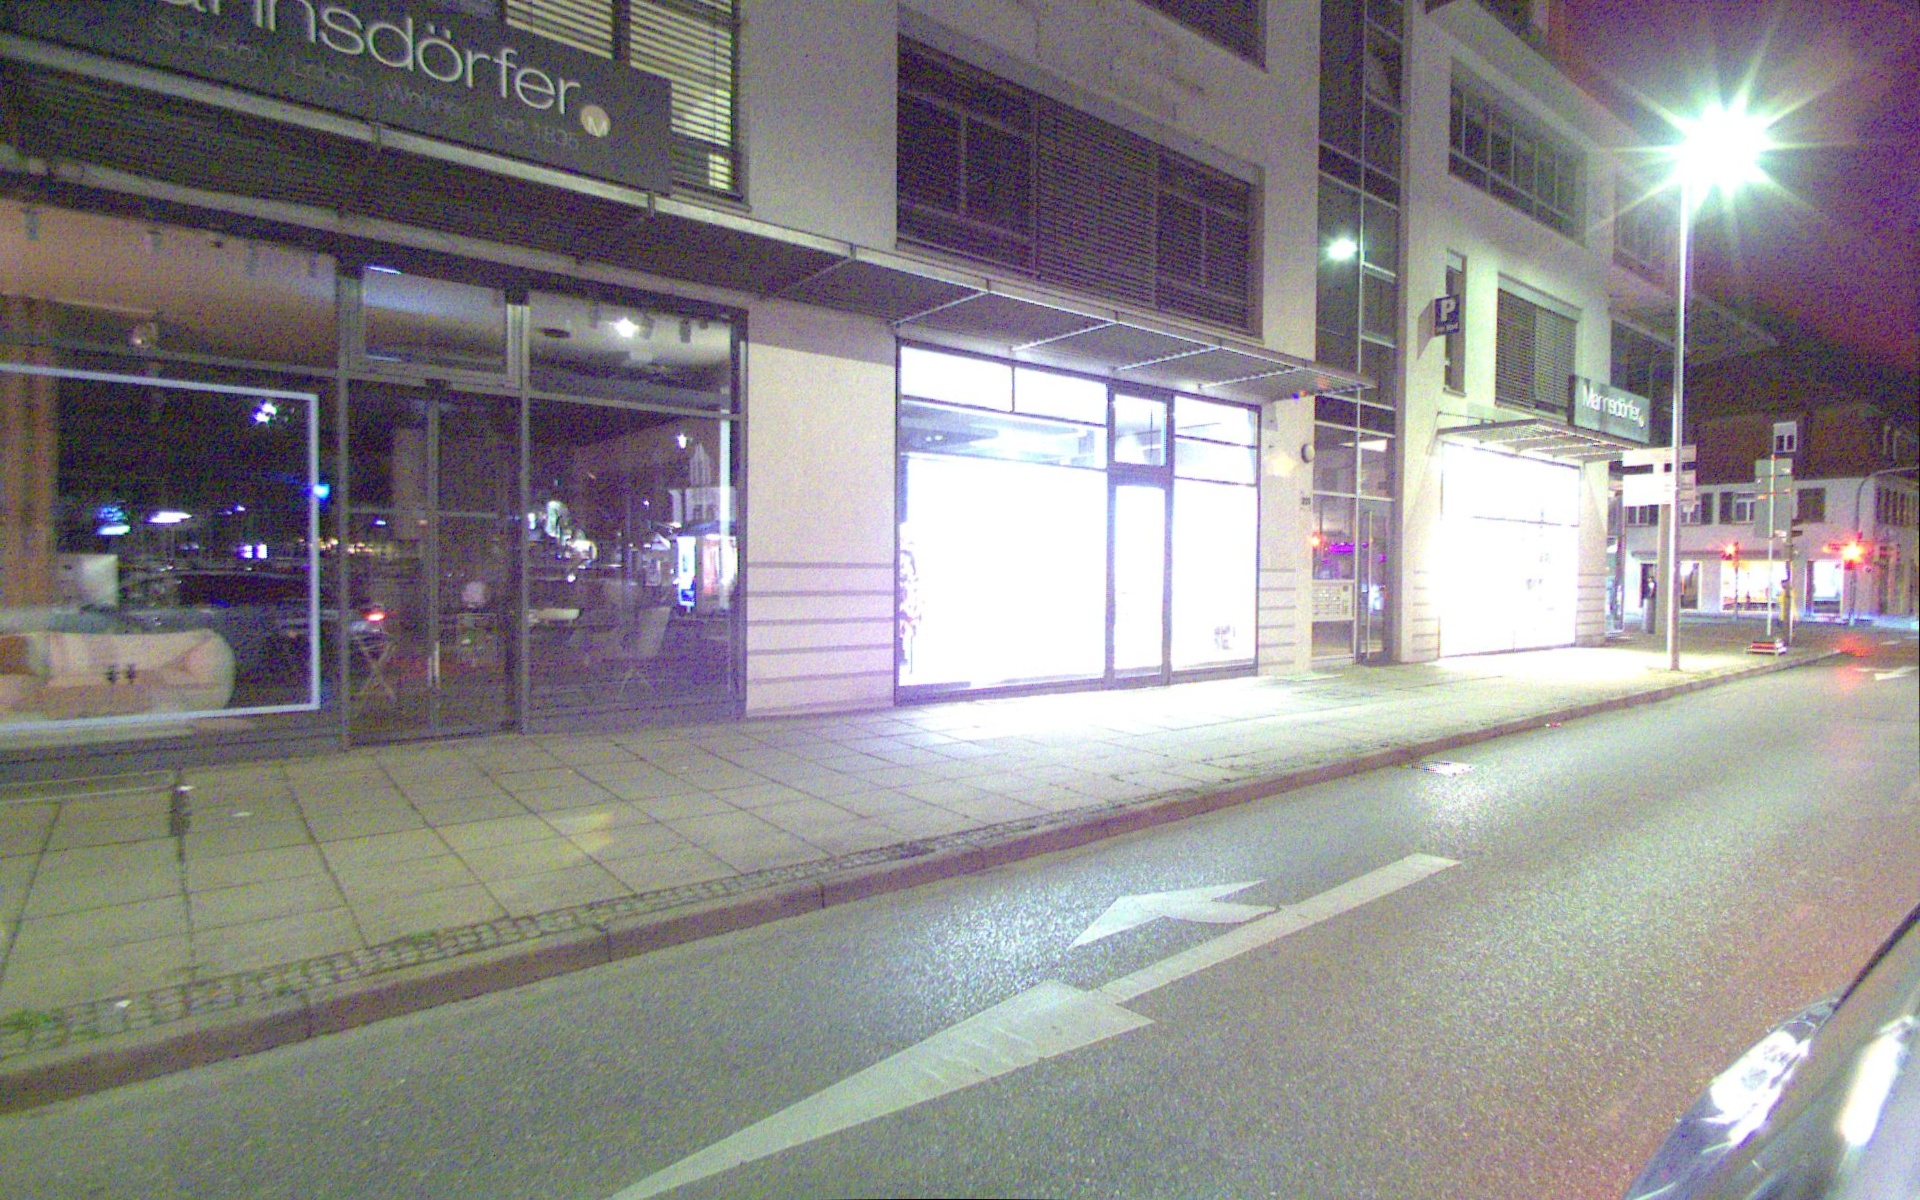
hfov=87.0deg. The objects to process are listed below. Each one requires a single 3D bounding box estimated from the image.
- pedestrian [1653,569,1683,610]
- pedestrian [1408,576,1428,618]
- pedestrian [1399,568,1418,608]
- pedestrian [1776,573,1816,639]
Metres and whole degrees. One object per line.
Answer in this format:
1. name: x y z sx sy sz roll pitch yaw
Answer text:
1. pedestrian: 30.942 -0.487 44.233 0.635 1.755 0.877 0 2 -37
2. pedestrian: 19.381 -0.133 42.834 0.556 1.738 0.525 0 0 -34
3. pedestrian: 19.628 -0.509 44.296 0.556 1.738 0.567 0 0 -34
4. pedestrian: 21.790 0.152 26.388 0.634 1.703 0.541 0 0 -19
